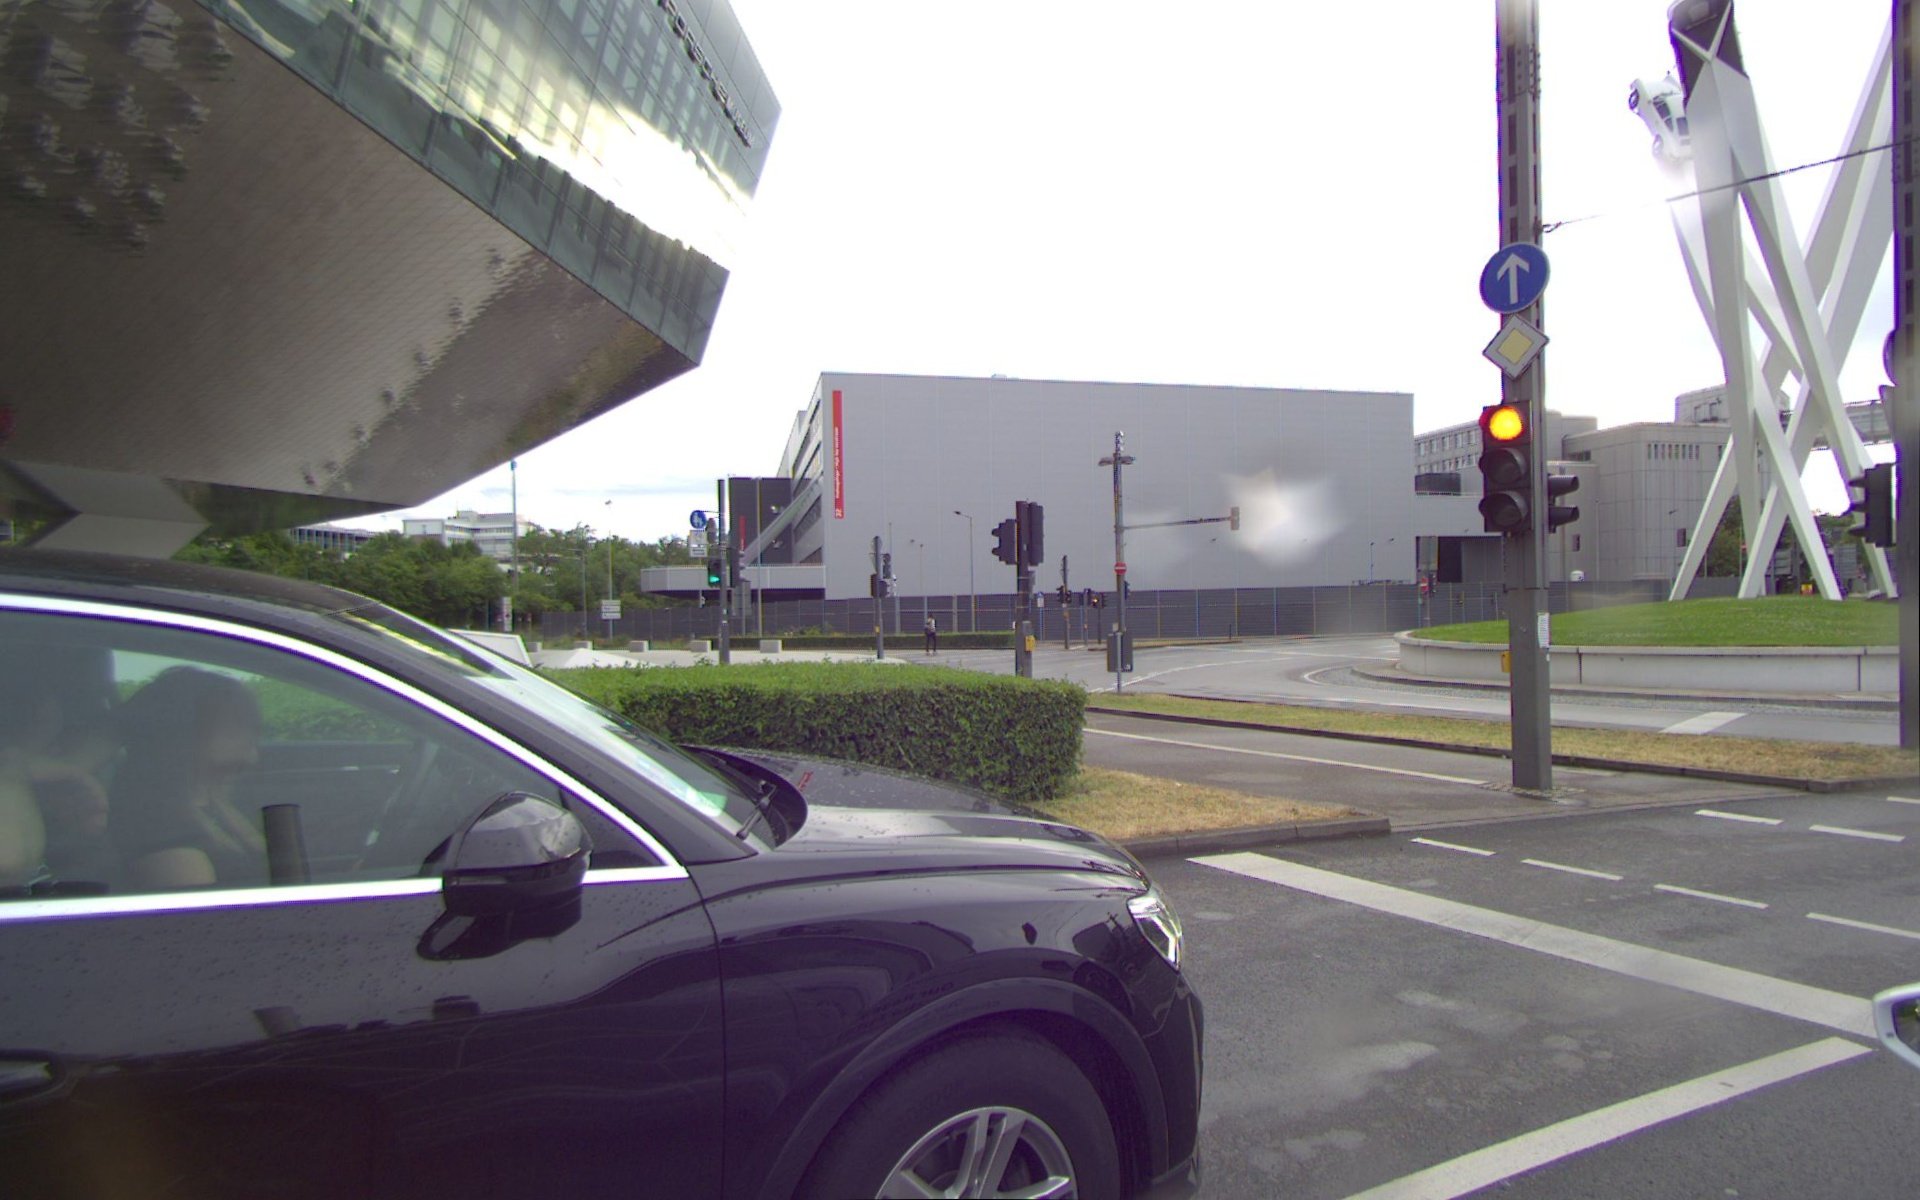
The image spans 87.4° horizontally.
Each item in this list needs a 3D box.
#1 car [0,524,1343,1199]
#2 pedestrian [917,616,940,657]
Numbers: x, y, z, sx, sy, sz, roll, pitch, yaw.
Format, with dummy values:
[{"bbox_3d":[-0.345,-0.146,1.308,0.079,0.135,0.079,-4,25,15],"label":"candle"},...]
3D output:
[{"bbox_3d":[-1.486,0.683,1.797,4.344,1.538,1.743,2,0,-31],"label":"car"},{"bbox_3d":[-1.413,1.641,45.390,0.638,1.827,0.851,0,0,35],"label":"pedestrian"}]
